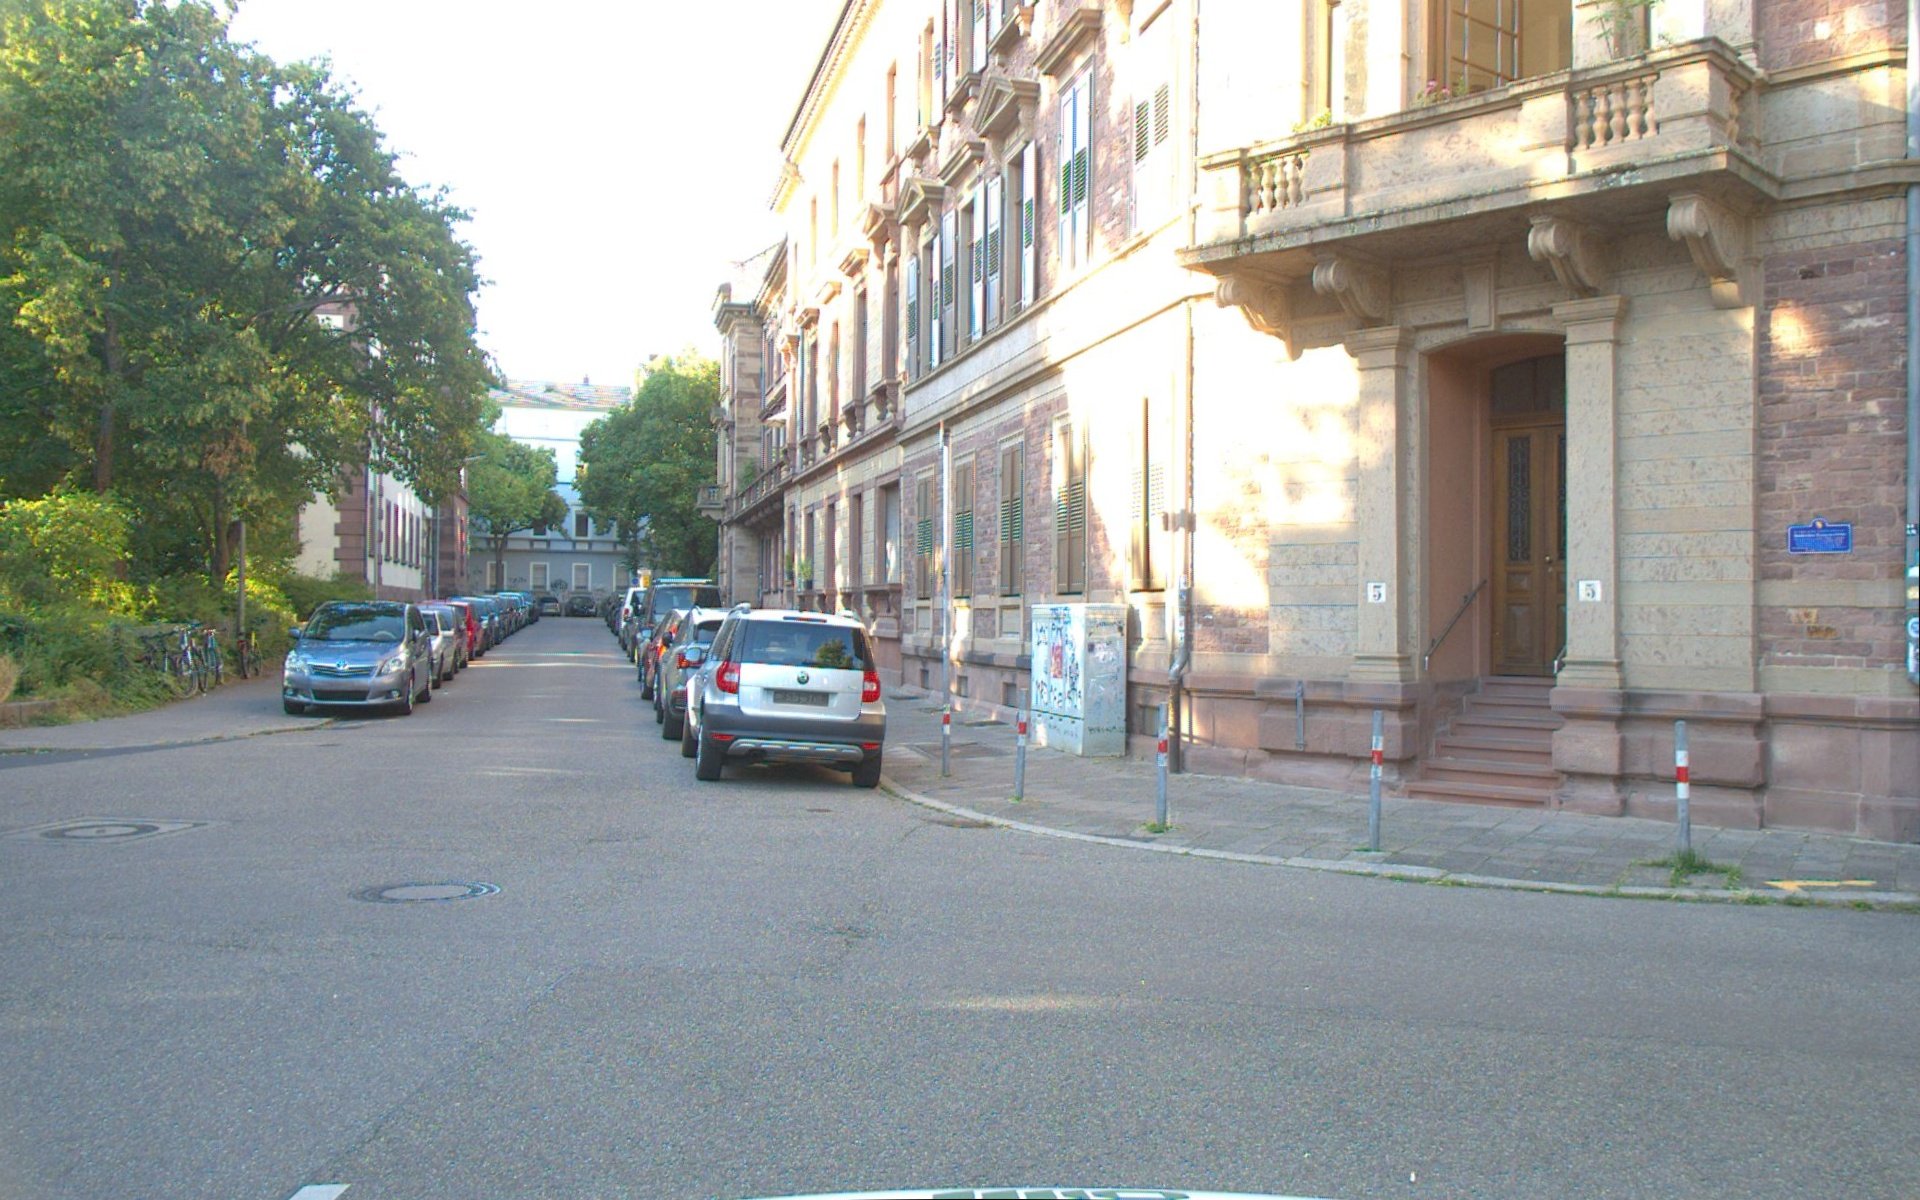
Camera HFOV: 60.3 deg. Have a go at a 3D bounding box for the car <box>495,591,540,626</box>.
[{"bbox_3d":[-21.429,0.395,80.178,1.794,1.526,3.919,4,-1,-12],"label":"car"}]

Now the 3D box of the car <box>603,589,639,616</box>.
[{"bbox_3d":[-23.465,0.191,114.424,1.963,1.714,3.979,2,-2,-18],"label":"car"}]

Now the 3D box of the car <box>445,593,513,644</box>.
[{"bbox_3d":[-15.944,0.607,55.011,1.794,1.526,3.919,4,-1,-12],"label":"car"}]

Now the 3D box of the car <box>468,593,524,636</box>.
[{"bbox_3d":[-18.201,0.557,64.969,1.794,1.526,3.919,4,-1,-12],"label":"car"}]

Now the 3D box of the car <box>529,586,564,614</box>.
[{"bbox_3d":[-28.159,0.028,112.509,1.963,1.714,3.979,2,-2,-18],"label":"car"}]

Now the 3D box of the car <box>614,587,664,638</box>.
[{"bbox_3d":[-12.725,0.492,65.433,1.766,1.871,3.942,3,-1,-13],"label":"car"}]

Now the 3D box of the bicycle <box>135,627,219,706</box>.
[{"bbox_3d":[-12.013,0.989,25.450,0.586,1.121,2.619,0,0,-12],"label":"bicycle"}]

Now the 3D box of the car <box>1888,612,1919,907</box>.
[{"bbox_3d":[7.502,0.900,8.508,4.387,1.679,1.876,0,-3,13],"label":"car"}]

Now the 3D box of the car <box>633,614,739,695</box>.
[{"bbox_3d":[-5.398,1.014,32.205,1.766,1.369,3.942,3,-1,-13],"label":"car"}]

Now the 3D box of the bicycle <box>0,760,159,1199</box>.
[{"bbox_3d":[-2.688,0.935,3.127,0.685,1.073,2.120,0,0,28],"label":"bicycle"}]

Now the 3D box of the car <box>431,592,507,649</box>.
[{"bbox_3d":[-14.784,0.601,49.929,1.794,1.526,3.919,4,-1,-12],"label":"car"}]

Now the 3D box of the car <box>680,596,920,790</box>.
[{"bbox_3d":[-1.800,0.881,17.227,1.883,1.686,4.172,4,-1,-13],"label":"car"}]

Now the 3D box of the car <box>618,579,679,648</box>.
[{"bbox_3d":[-10.278,0.438,54.395,1.766,2.109,3.942,3,-1,-13],"label":"car"}]

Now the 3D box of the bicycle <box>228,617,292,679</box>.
[{"bbox_3d":[-13.432,0.890,31.790,0.586,1.121,2.620,0,0,-11],"label":"bicycle"}]

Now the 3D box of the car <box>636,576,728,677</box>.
[{"bbox_3d":[-6.432,0.583,37.985,1.766,2.109,3.942,3,-1,-13],"label":"car"}]

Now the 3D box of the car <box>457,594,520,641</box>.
[{"bbox_3d":[-16.876,0.612,59.332,1.794,1.526,3.919,4,-1,-12],"label":"car"}]

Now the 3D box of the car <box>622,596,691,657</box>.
[{"bbox_3d":[-8.924,0.752,48.500,1.766,1.651,3.942,3,-1,-13],"label":"car"}]

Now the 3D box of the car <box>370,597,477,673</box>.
[{"bbox_3d":[-12.033,0.756,37.298,1.794,1.504,3.919,4,-1,-12],"label":"car"}]

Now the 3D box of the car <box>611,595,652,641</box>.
[{"bbox_3d":[-15.877,0.850,79.854,1.766,2.052,3.942,3,-1,-13],"label":"car"}]

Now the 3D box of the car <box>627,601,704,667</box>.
[{"bbox_3d":[-7.756,0.861,43.336,1.766,1.550,3.942,3,-1,-13],"label":"car"}]

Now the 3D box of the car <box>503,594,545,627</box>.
[{"bbox_3d":[-22.435,0.537,85.163,1.794,1.526,3.919,4,-1,-12],"label":"car"}]

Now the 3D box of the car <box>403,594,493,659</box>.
[{"bbox_3d":[-13.345,0.670,43.296,1.794,1.526,3.919,4,-1,-12],"label":"car"}]

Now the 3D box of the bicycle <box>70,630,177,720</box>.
[{"bbox_3d":[-11.480,1.000,22.792,0.586,1.121,2.620,0,0,-10],"label":"bicycle"}]

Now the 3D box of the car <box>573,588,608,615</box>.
[{"bbox_3d":[-25.480,0.133,113.909,1.963,1.714,3.979,2,-2,-18],"label":"car"}]

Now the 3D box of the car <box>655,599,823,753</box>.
[{"bbox_3d":[-3.060,0.927,22.108,1.794,1.753,4.529,4,-1,-12],"label":"car"}]

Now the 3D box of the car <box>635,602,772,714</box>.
[{"bbox_3d":[-4.330,0.912,27.480,1.768,1.642,3.939,3,-1,-15],"label":"car"}]

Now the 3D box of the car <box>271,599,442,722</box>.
[{"bbox_3d":[-9.181,0.866,25.476,1.794,1.643,4.278,4,-1,-12],"label":"car"}]

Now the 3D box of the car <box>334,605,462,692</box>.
[{"bbox_3d":[-10.759,0.889,31.893,1.794,1.472,3.919,4,-1,-12],"label":"car"}]
